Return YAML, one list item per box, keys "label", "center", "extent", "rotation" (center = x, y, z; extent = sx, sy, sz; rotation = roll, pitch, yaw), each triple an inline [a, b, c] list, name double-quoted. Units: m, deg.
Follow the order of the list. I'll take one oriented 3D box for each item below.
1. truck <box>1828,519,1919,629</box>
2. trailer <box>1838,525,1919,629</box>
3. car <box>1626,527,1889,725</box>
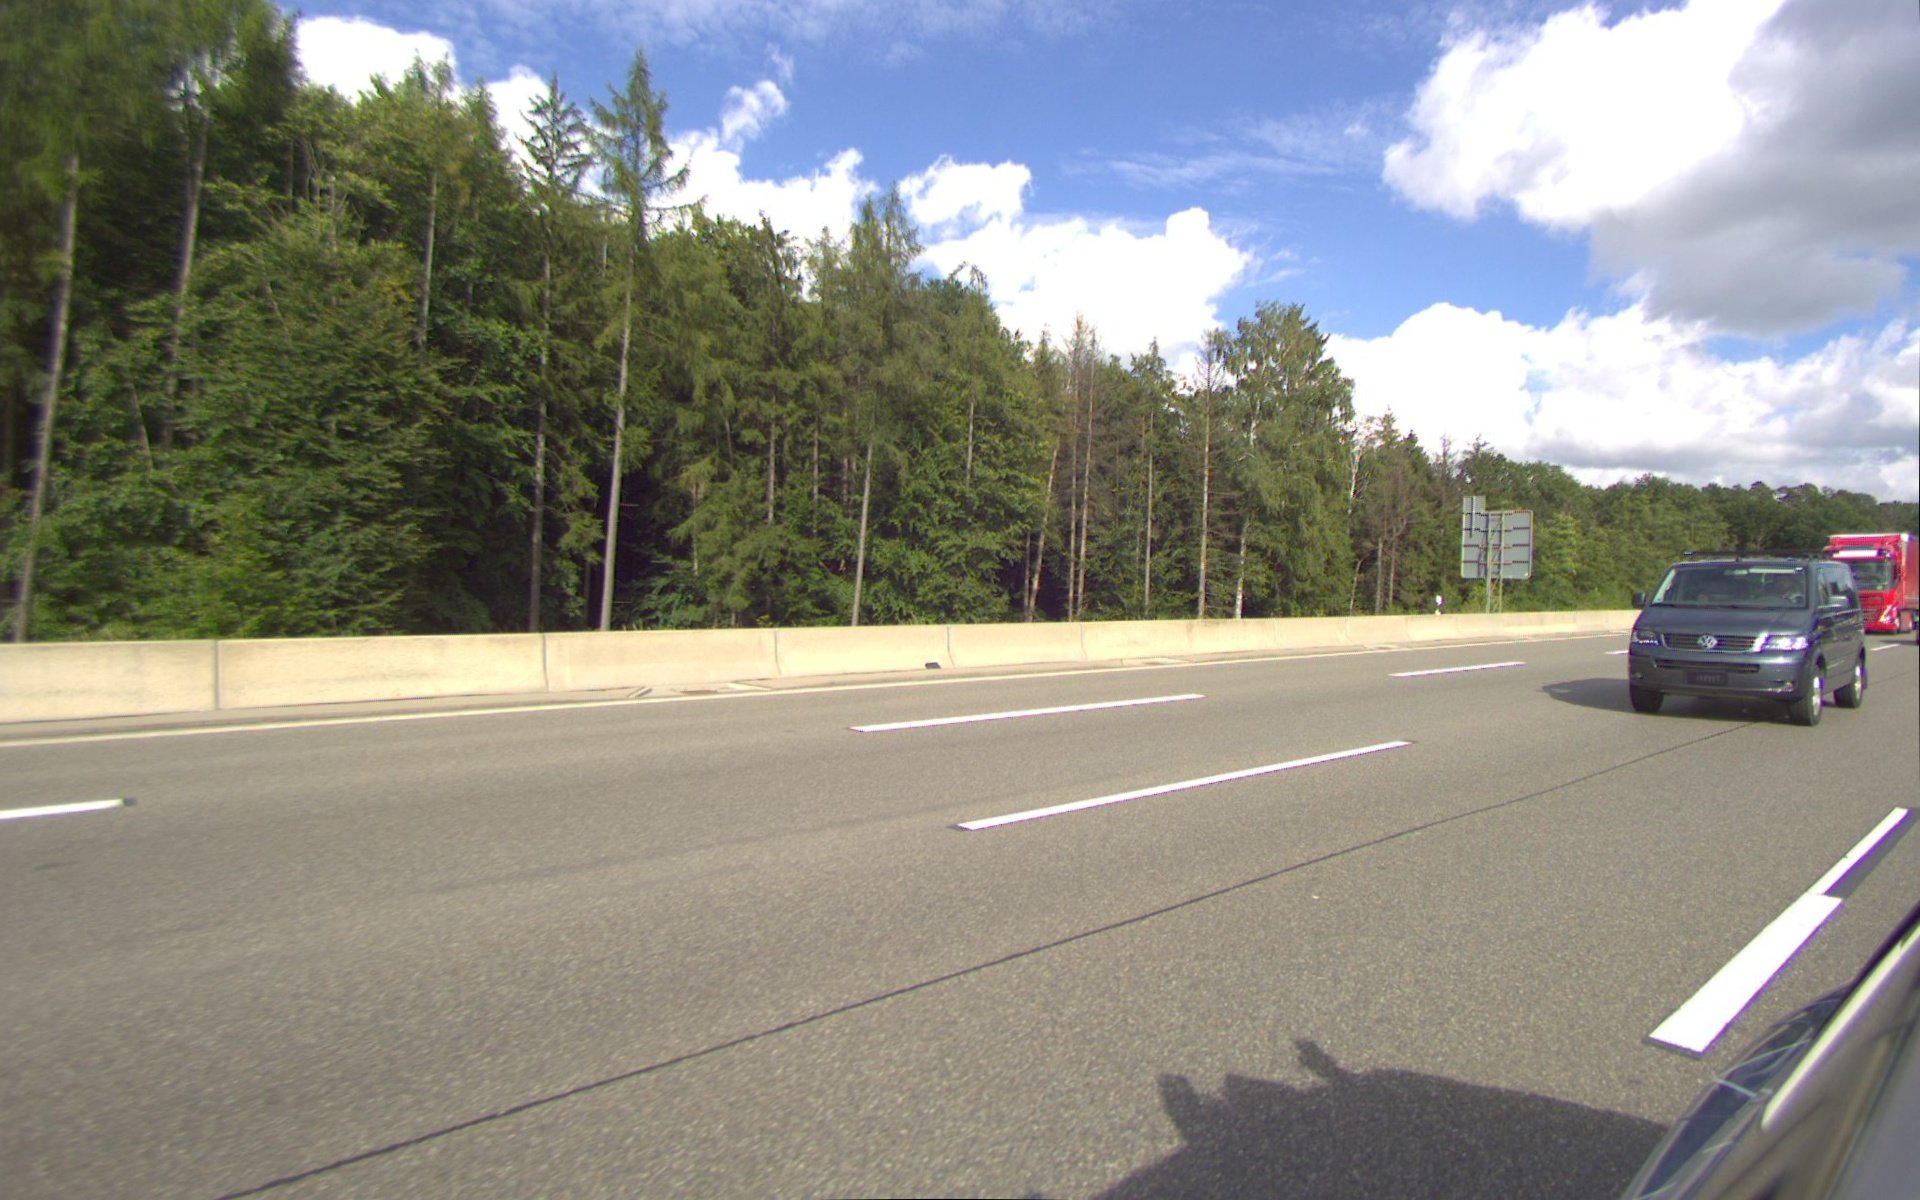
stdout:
- label: "truck"
  center: [37.928, -1.068, 41.744]
  extent: [4.572, 4.255, 2.531]
  rotation: [-1, 1, -41]
- label: "trailer"
  center: [43.120, -1.069, 46.271]
  extent: [14.126, 4.171, 2.529]
  rotation: [-1, 1, -41]
- label: "car"
  center: [10.776, 0.256, 13.525]
  extent: [4.875, 2.192, 1.925]
  rotation: [0, 1, -42]
